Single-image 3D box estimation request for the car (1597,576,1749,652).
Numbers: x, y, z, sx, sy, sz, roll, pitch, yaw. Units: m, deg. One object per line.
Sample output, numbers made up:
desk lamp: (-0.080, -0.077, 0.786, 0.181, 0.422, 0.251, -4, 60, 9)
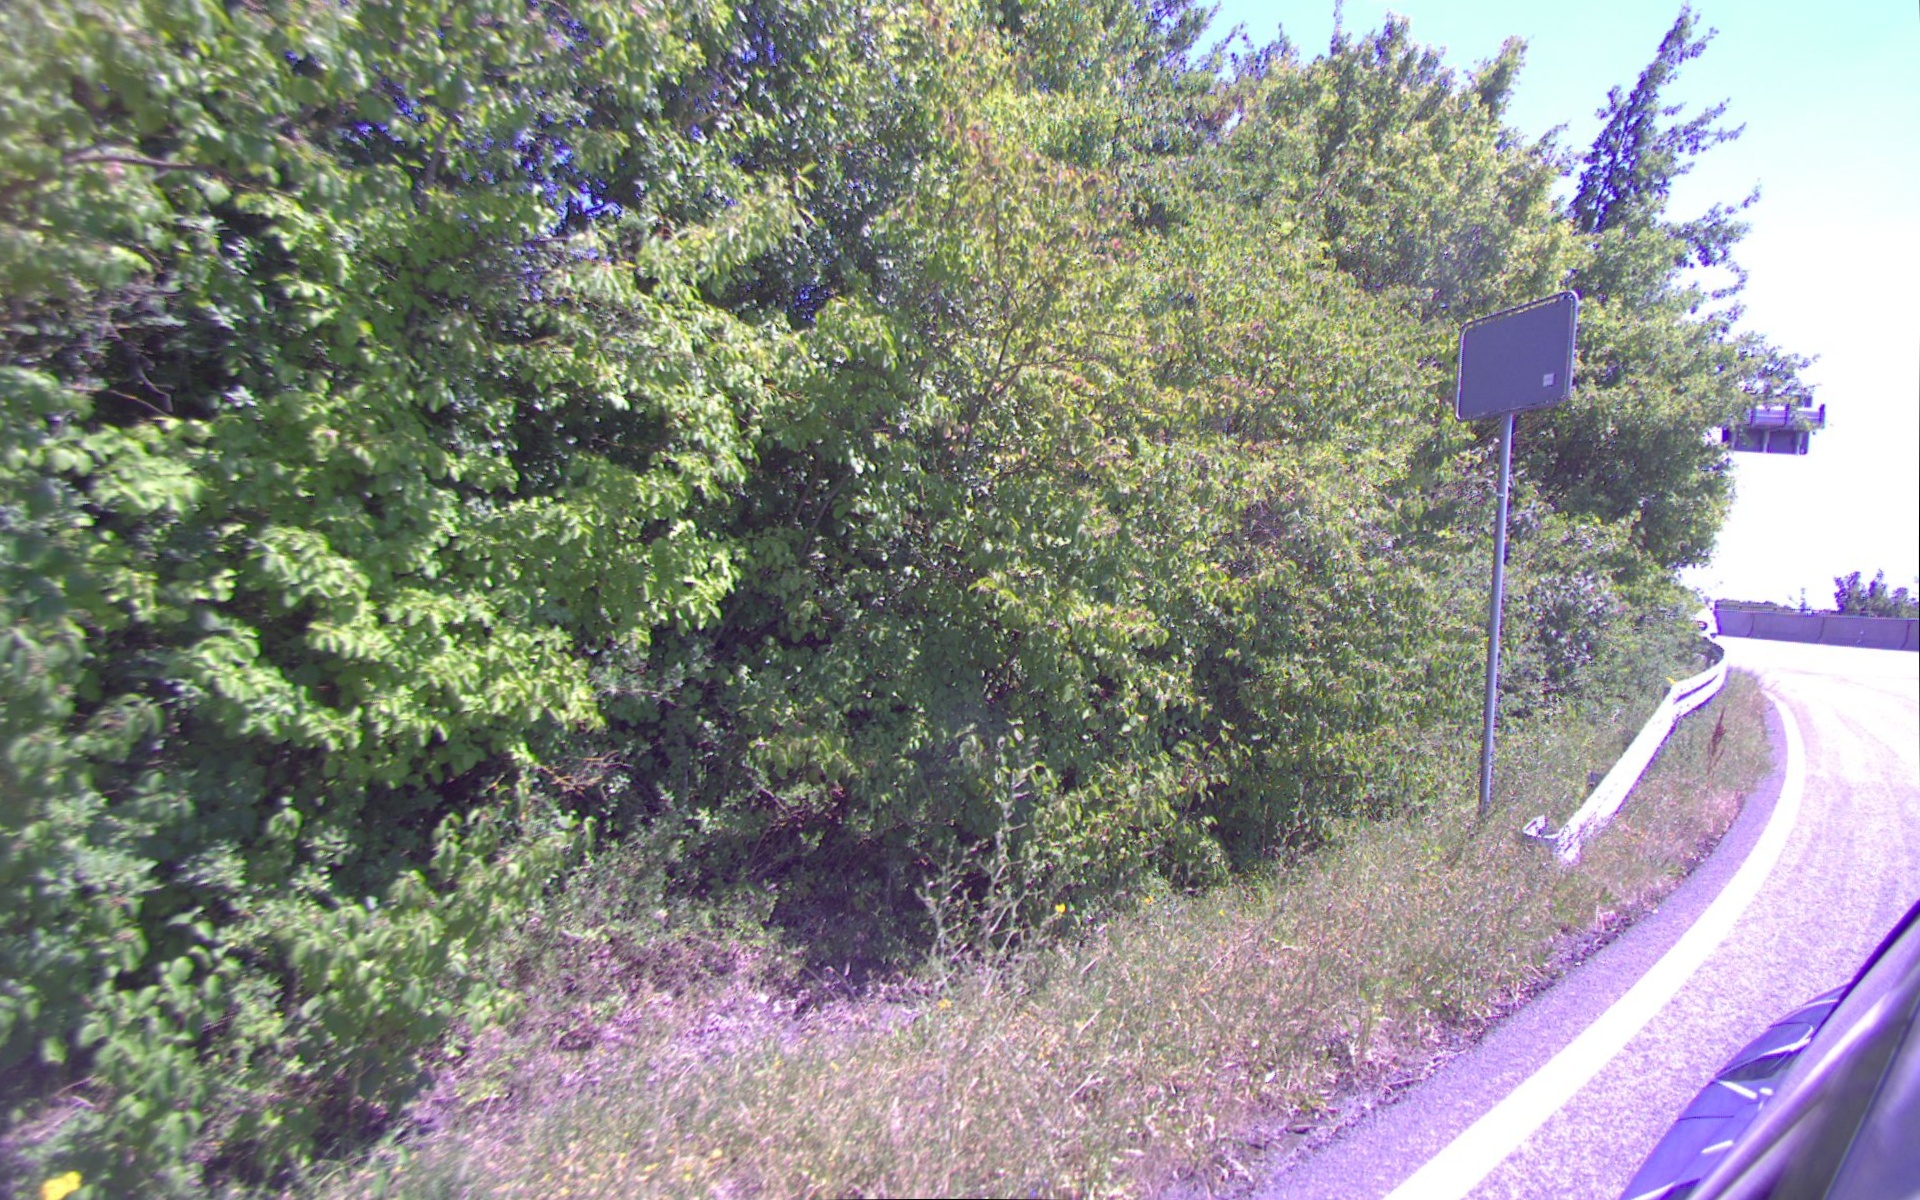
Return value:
car: (22.409, 0.324, 32.127, 2.003, 2.110, 5.845, 1, 2, 15)
